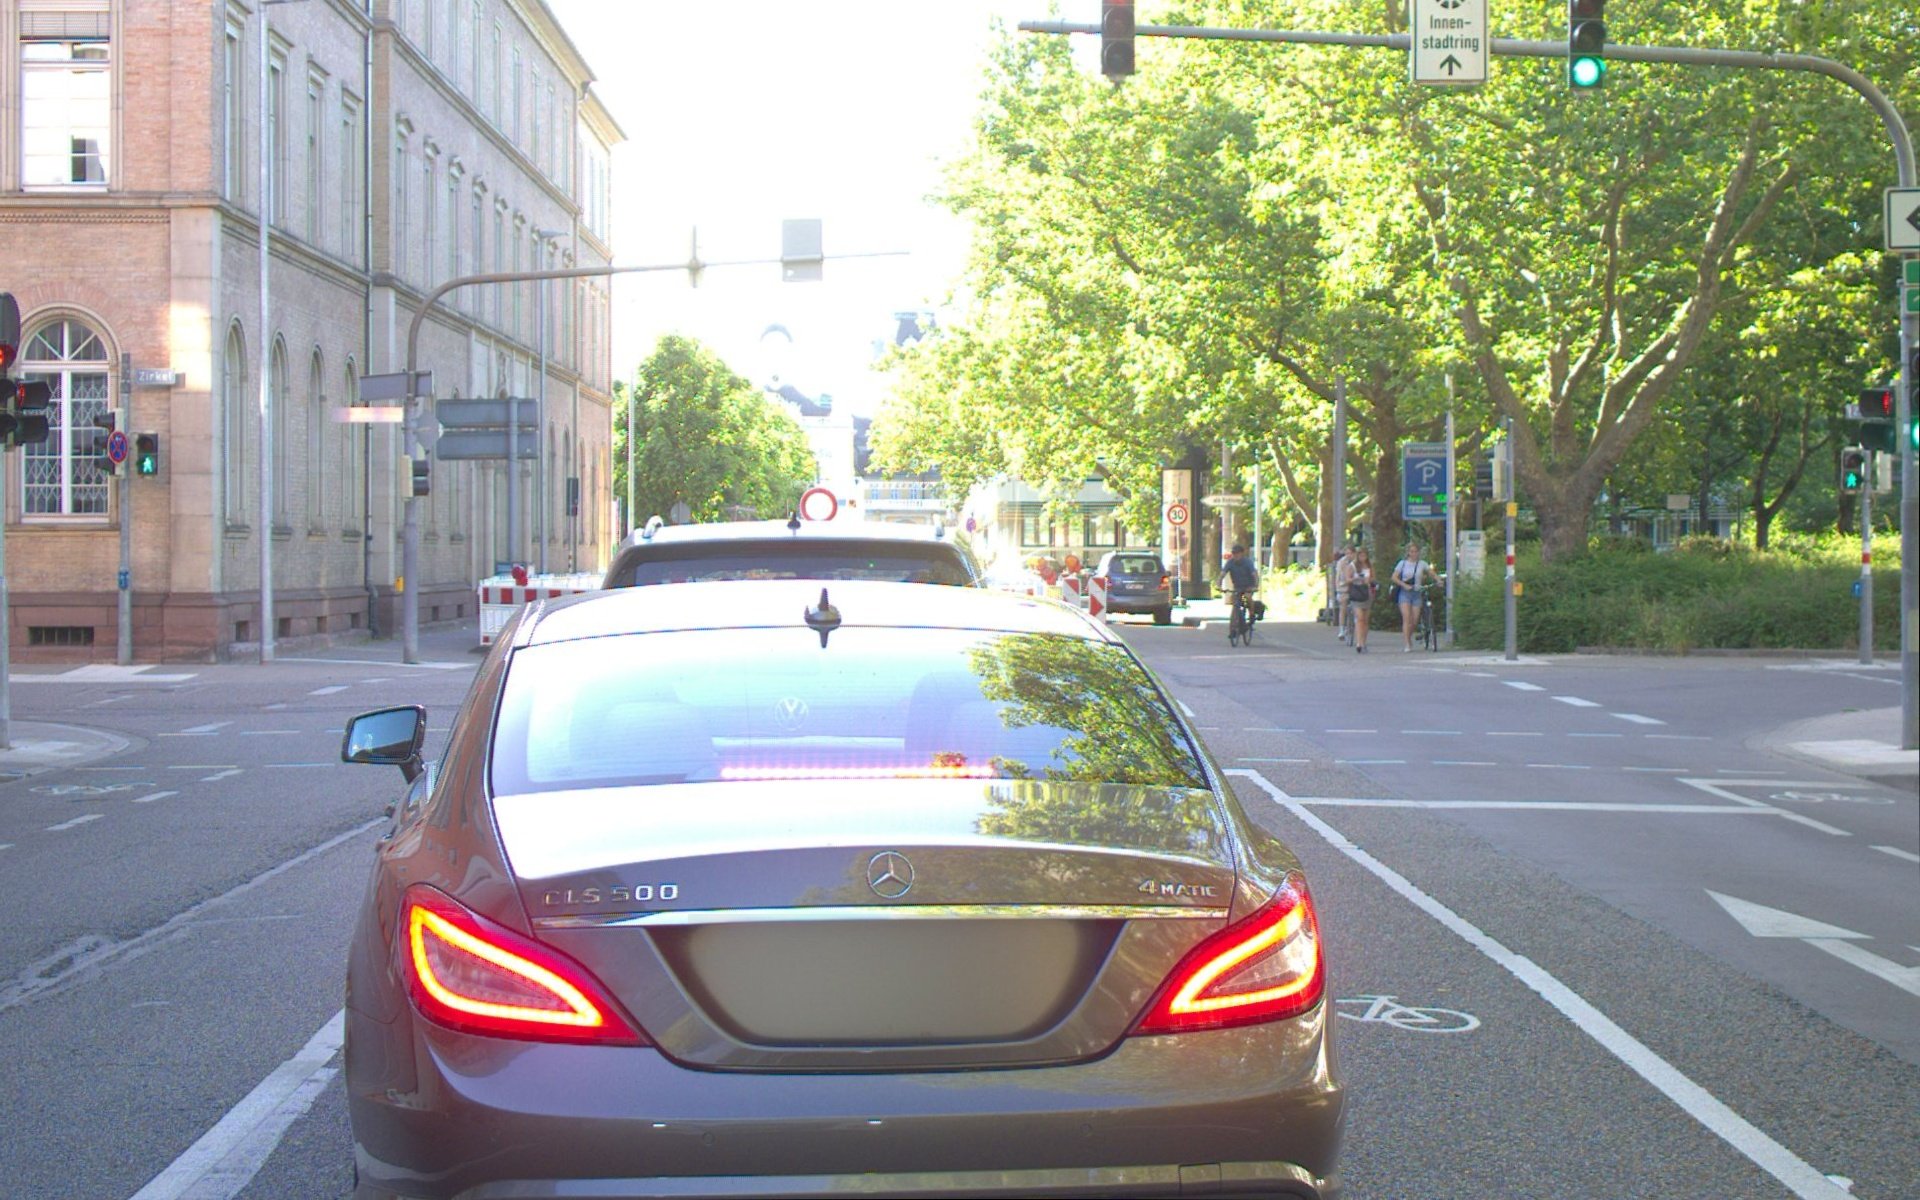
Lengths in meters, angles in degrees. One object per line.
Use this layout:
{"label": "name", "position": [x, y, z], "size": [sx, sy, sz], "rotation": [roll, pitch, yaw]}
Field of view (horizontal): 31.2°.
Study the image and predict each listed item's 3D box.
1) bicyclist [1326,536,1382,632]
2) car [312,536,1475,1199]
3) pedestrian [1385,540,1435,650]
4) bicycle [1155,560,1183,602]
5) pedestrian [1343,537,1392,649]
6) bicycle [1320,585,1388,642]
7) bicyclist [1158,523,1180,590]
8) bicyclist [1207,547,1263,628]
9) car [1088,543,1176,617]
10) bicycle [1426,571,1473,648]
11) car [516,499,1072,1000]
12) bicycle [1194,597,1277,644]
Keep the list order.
{"label": "bicyclist", "position": [6.774, -0.279, 59.104], "size": [0.825, 1.612, 0.957], "rotation": [1, 0, -1]}
{"label": "car", "position": [-0.363, 0.627, 7.476], "size": [1.861, 1.514, 4.001], "rotation": [0, 1, -8]}
{"label": "pedestrian", "position": [7.234, -0.080, 55.286], "size": [0.635, 1.754, 0.699], "rotation": [1, 0, -4]}
{"label": "bicycle", "position": [6.382, -0.597, 104.952], "size": [0.591, 1.259, 1.806], "rotation": [1, 1, -5]}
{"label": "pedestrian", "position": [6.575, -0.112, 55.502], "size": [0.635, 1.791, 0.699], "rotation": [1, 0, -4]}
{"label": "bicycle", "position": [6.776, 0.221, 59.221], "size": [0.828, 0.921, 2.617], "rotation": [1, 1, -1]}
{"label": "bicyclist", "position": [6.381, -1.318, 104.994], "size": [0.594, 2.032, 0.566], "rotation": [1, 0, -4]}
{"label": "bicyclist", "position": [4.797, -0.213, 60.005], "size": [0.734, 1.393, 0.697], "rotation": [1, 0, 28]}
{"label": "car", "position": [4.198, -0.524, 84.569], "size": [1.861, 1.758, 4.482], "rotation": [1, 1, -1]}
{"label": "bicycle", "position": [7.807, 0.138, 54.864], "size": [0.482, 1.198, 1.606], "rotation": [1, 0, -1]}
{"label": "car", "position": [-0.584, 0.472, 13.606], "size": [1.861, 1.677, 4.000], "rotation": [1, 1, -1]}
{"label": "bicycle", "position": [4.813, 0.351, 60.059], "size": [0.724, 0.788, 1.925], "rotation": [1, 1, 28]}
